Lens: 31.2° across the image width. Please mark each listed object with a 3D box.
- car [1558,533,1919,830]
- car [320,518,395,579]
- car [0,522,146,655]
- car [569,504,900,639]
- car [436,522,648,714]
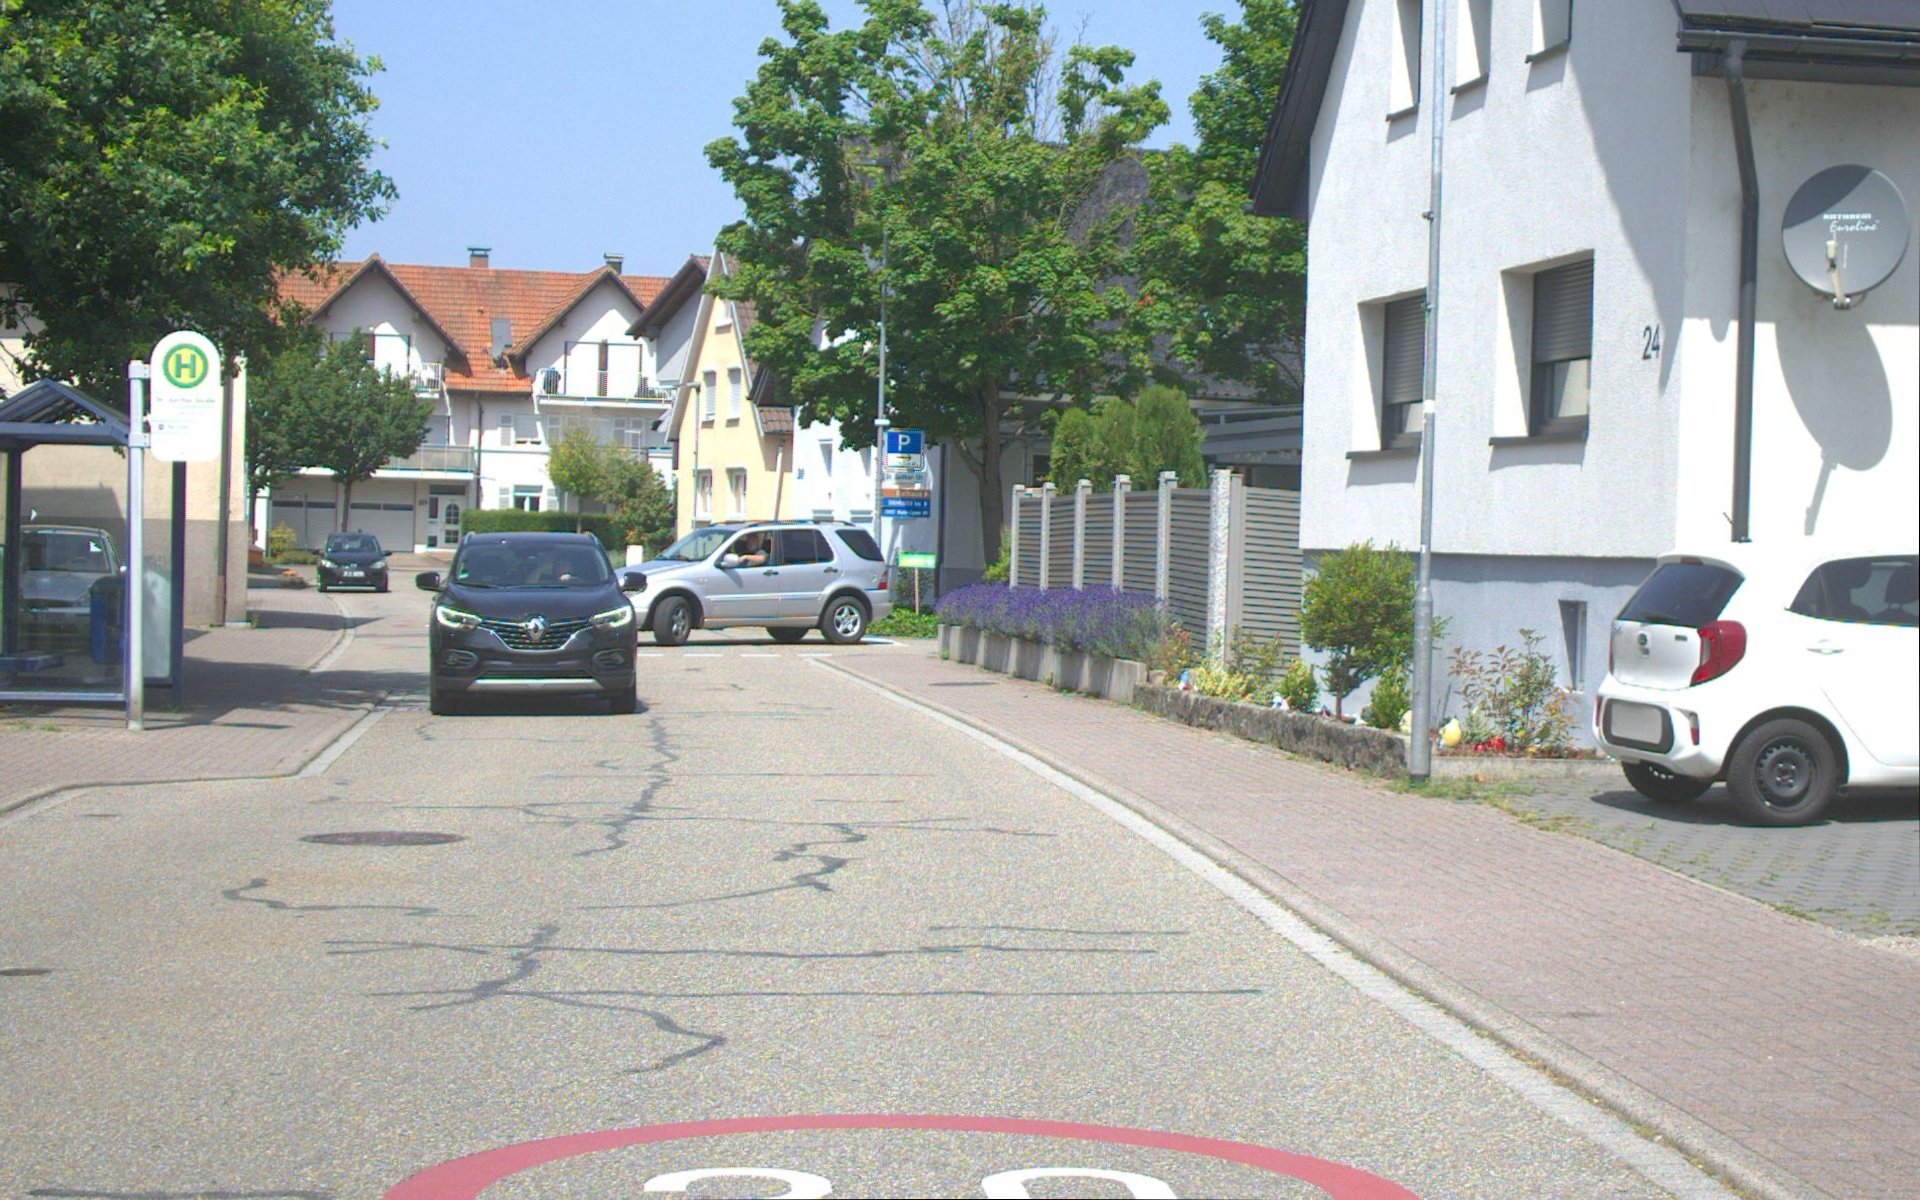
[{"bbox_3d":[5.312,0.388,18.708,3.656,1.469,1.766,-1,2,-11],"label":"car"},{"bbox_3d":[-15.076,-1.300,85.913,1.626,1.481,4.001,0,1,-13],"label":"car"},{"bbox_3d":[-10.693,-0.177,40.771,1.778,1.430,4.057,1,1,-10],"label":"car"},{"bbox_3d":[-3.214,-0.402,49.266,4.317,1.761,1.892,1,3,-35],"label":"car"},{"bbox_3d":[-3.773,0.115,31.181,1.775,1.618,4.106,0,1,-6],"label":"car"}]
